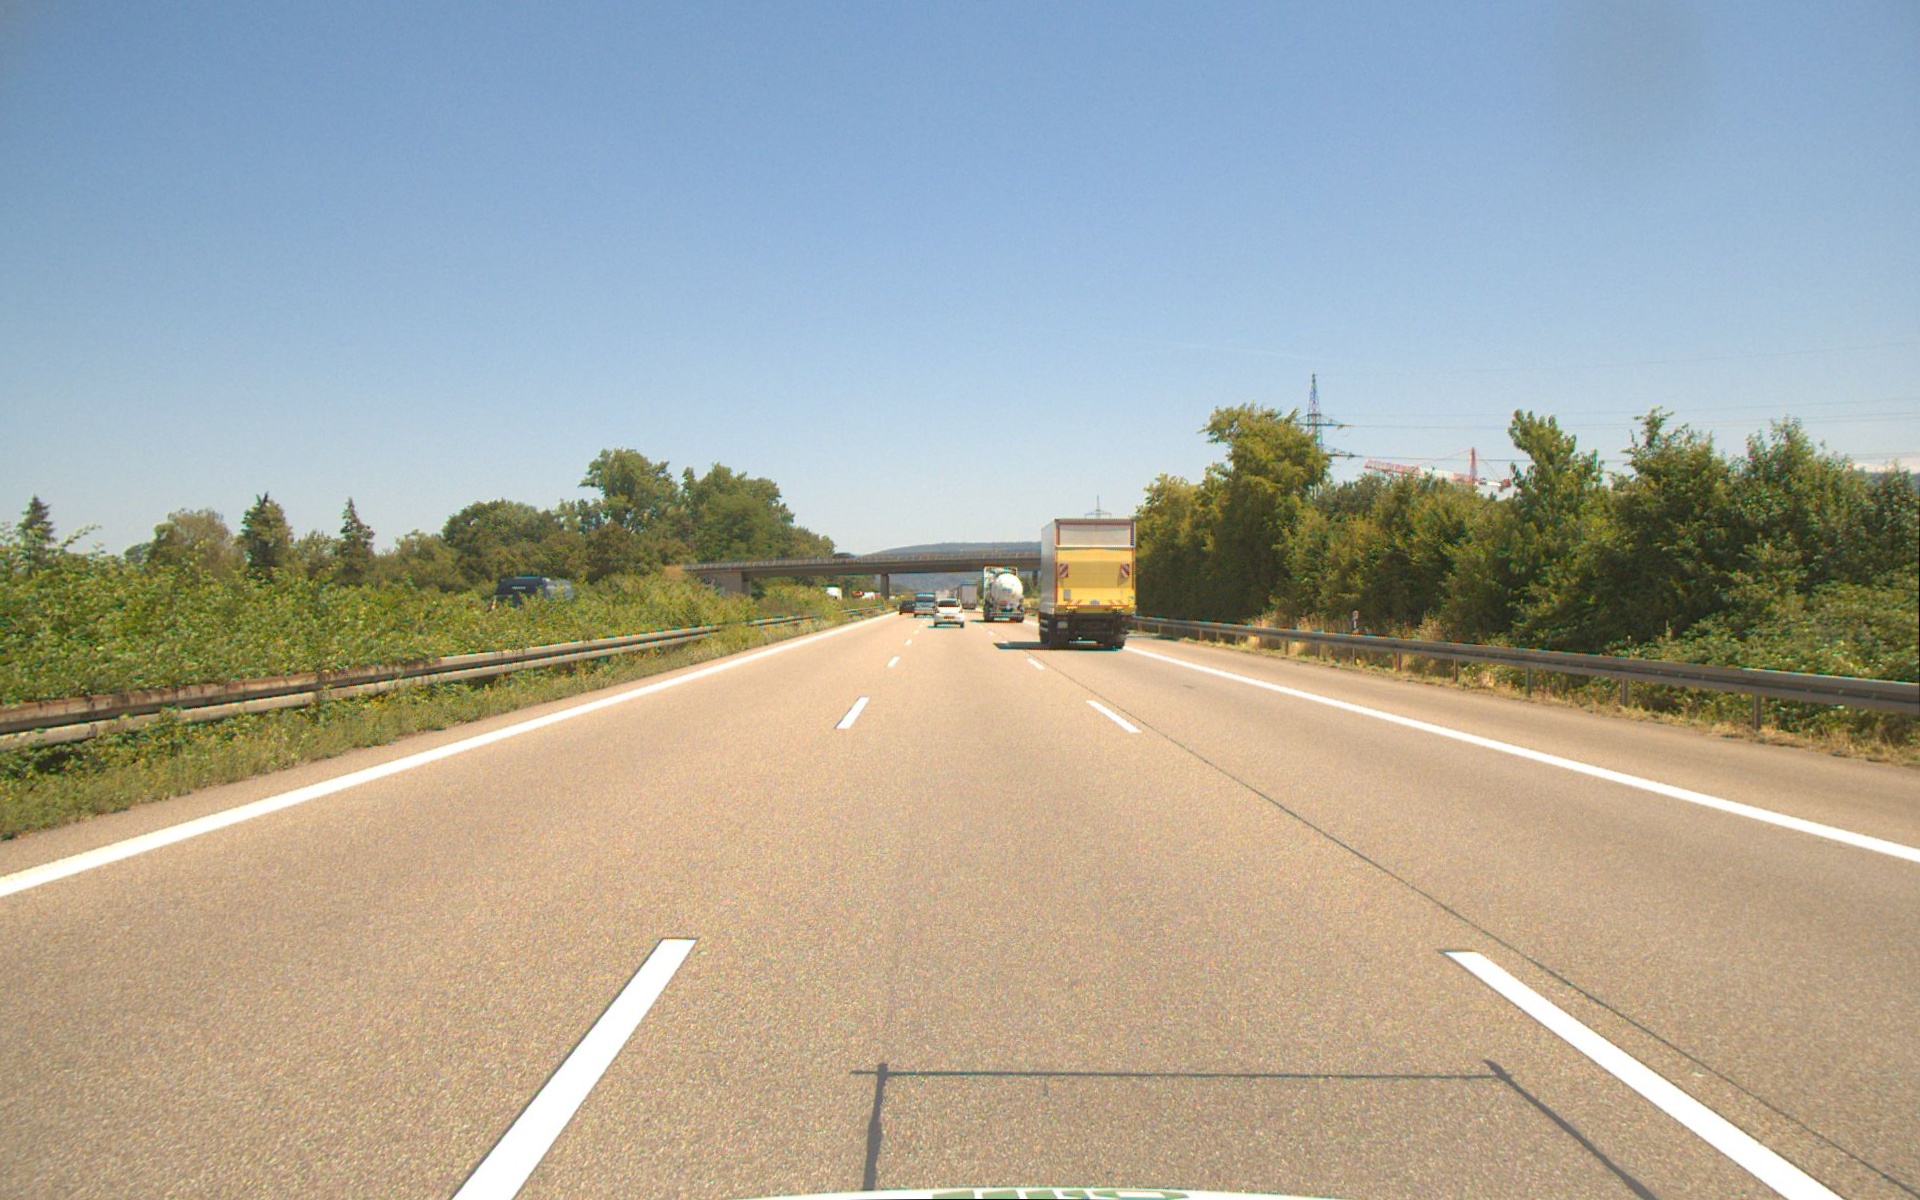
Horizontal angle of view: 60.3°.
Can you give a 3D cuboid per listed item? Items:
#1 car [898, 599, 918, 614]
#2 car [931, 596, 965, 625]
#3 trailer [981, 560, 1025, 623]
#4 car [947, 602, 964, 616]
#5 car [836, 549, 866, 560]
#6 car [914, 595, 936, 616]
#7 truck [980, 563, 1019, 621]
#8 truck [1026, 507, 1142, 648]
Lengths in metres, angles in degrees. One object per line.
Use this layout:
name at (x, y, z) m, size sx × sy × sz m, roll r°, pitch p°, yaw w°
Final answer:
car at (-4.964, 0.641, 159.179) m, size 1.798 × 1.411 × 3.999 m, roll 1°, pitch 0°, yaw -1°
car at (-0.665, 0.562, 90.352) m, size 1.770 × 1.494 × 3.999 m, roll 1°, pitch 0°, yaw -1°
trailer at (2.938, -0.575, 117.092) m, size 2.527 × 4.145 × 11.100 m, roll 1°, pitch 0°, yaw -1°
car at (-0.503, 0.922, 175.372) m, size 1.798 × 1.411 × 3.999 m, roll 1°, pitch 0°, yaw -1°
car at (-14.749, -6.134, 223.620) m, size 3.922 × 1.411 × 1.833 m, roll 1°, pitch 0°, yaw 37°
car at (-2.932, 0.435, 139.058) m, size 1.814 × 1.661 × 3.999 m, roll 1°, pitch 0°, yaw -1°
truck at (2.859, -0.570, 121.524) m, size 2.521 × 4.143 × 6.391 m, roll 1°, pitch 0°, yaw -1°
truck at (4.019, -0.700, 56.141) m, size 2.874 × 4.273 × 10.679 m, roll 1°, pitch 0°, yaw -1°
